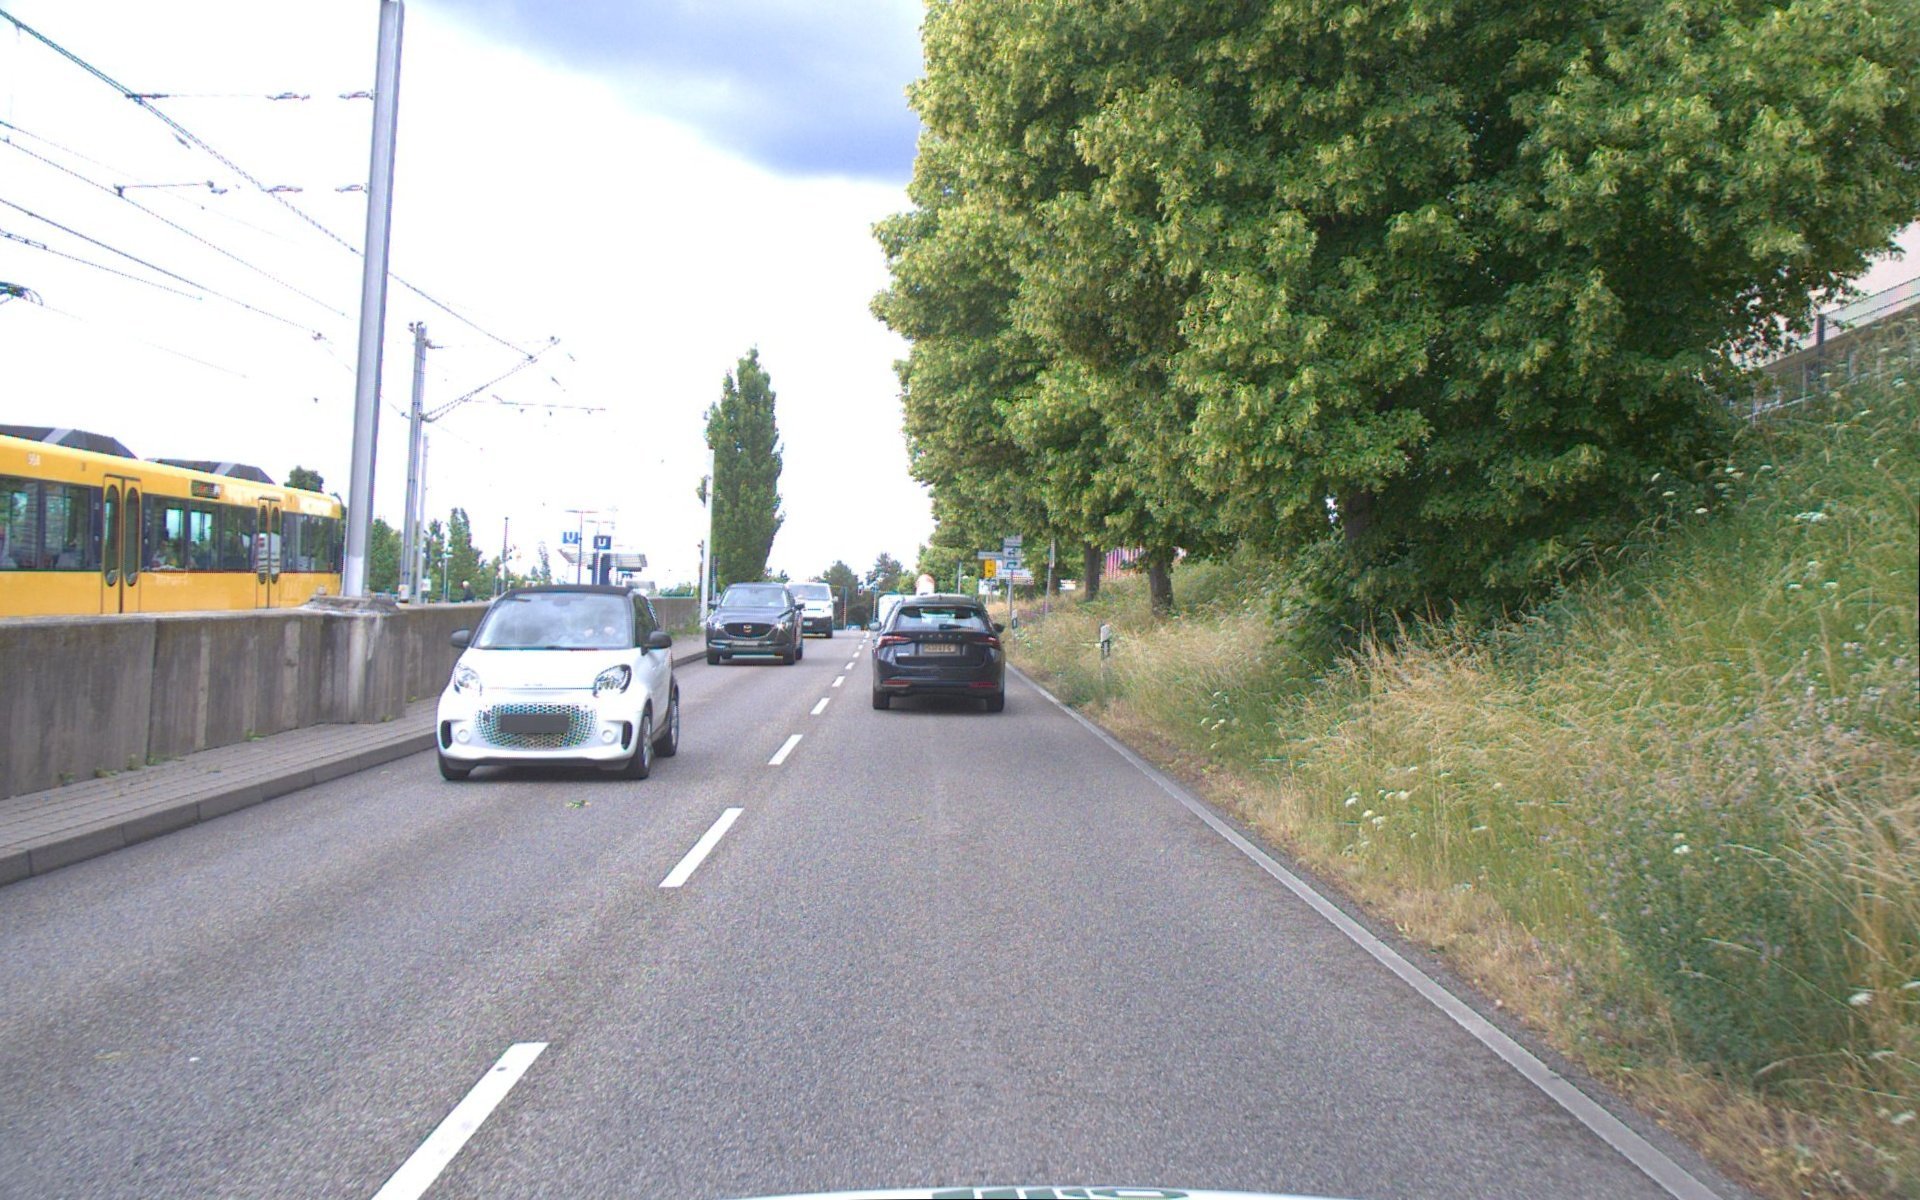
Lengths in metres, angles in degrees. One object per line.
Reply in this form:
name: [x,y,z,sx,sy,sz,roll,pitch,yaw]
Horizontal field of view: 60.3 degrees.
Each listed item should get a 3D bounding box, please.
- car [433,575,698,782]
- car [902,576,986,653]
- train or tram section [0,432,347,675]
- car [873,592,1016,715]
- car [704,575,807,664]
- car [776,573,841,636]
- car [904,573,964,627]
car: [-3.383,0.584,14.877,1.697,1.599,3.997,0,1,-4]
car: [-0.415,0.331,41.037,1.953,1.783,3.999,1,0,-1]
train or tram section: [-14.375,-0.585,28.395,2.743,3.075,18.853,1,0,-6]
car: [-0.218,0.656,22.442,1.745,1.493,3.999,1,0,-1]
car: [-4.319,0.378,35.520,1.872,1.799,4.304,0,0,-3]
car: [-5.140,0.128,56.530,1.953,2.049,4.311,0,0,-2]
car: [-0.884,0.008,55.981,1.953,1.771,3.999,1,0,-1]
